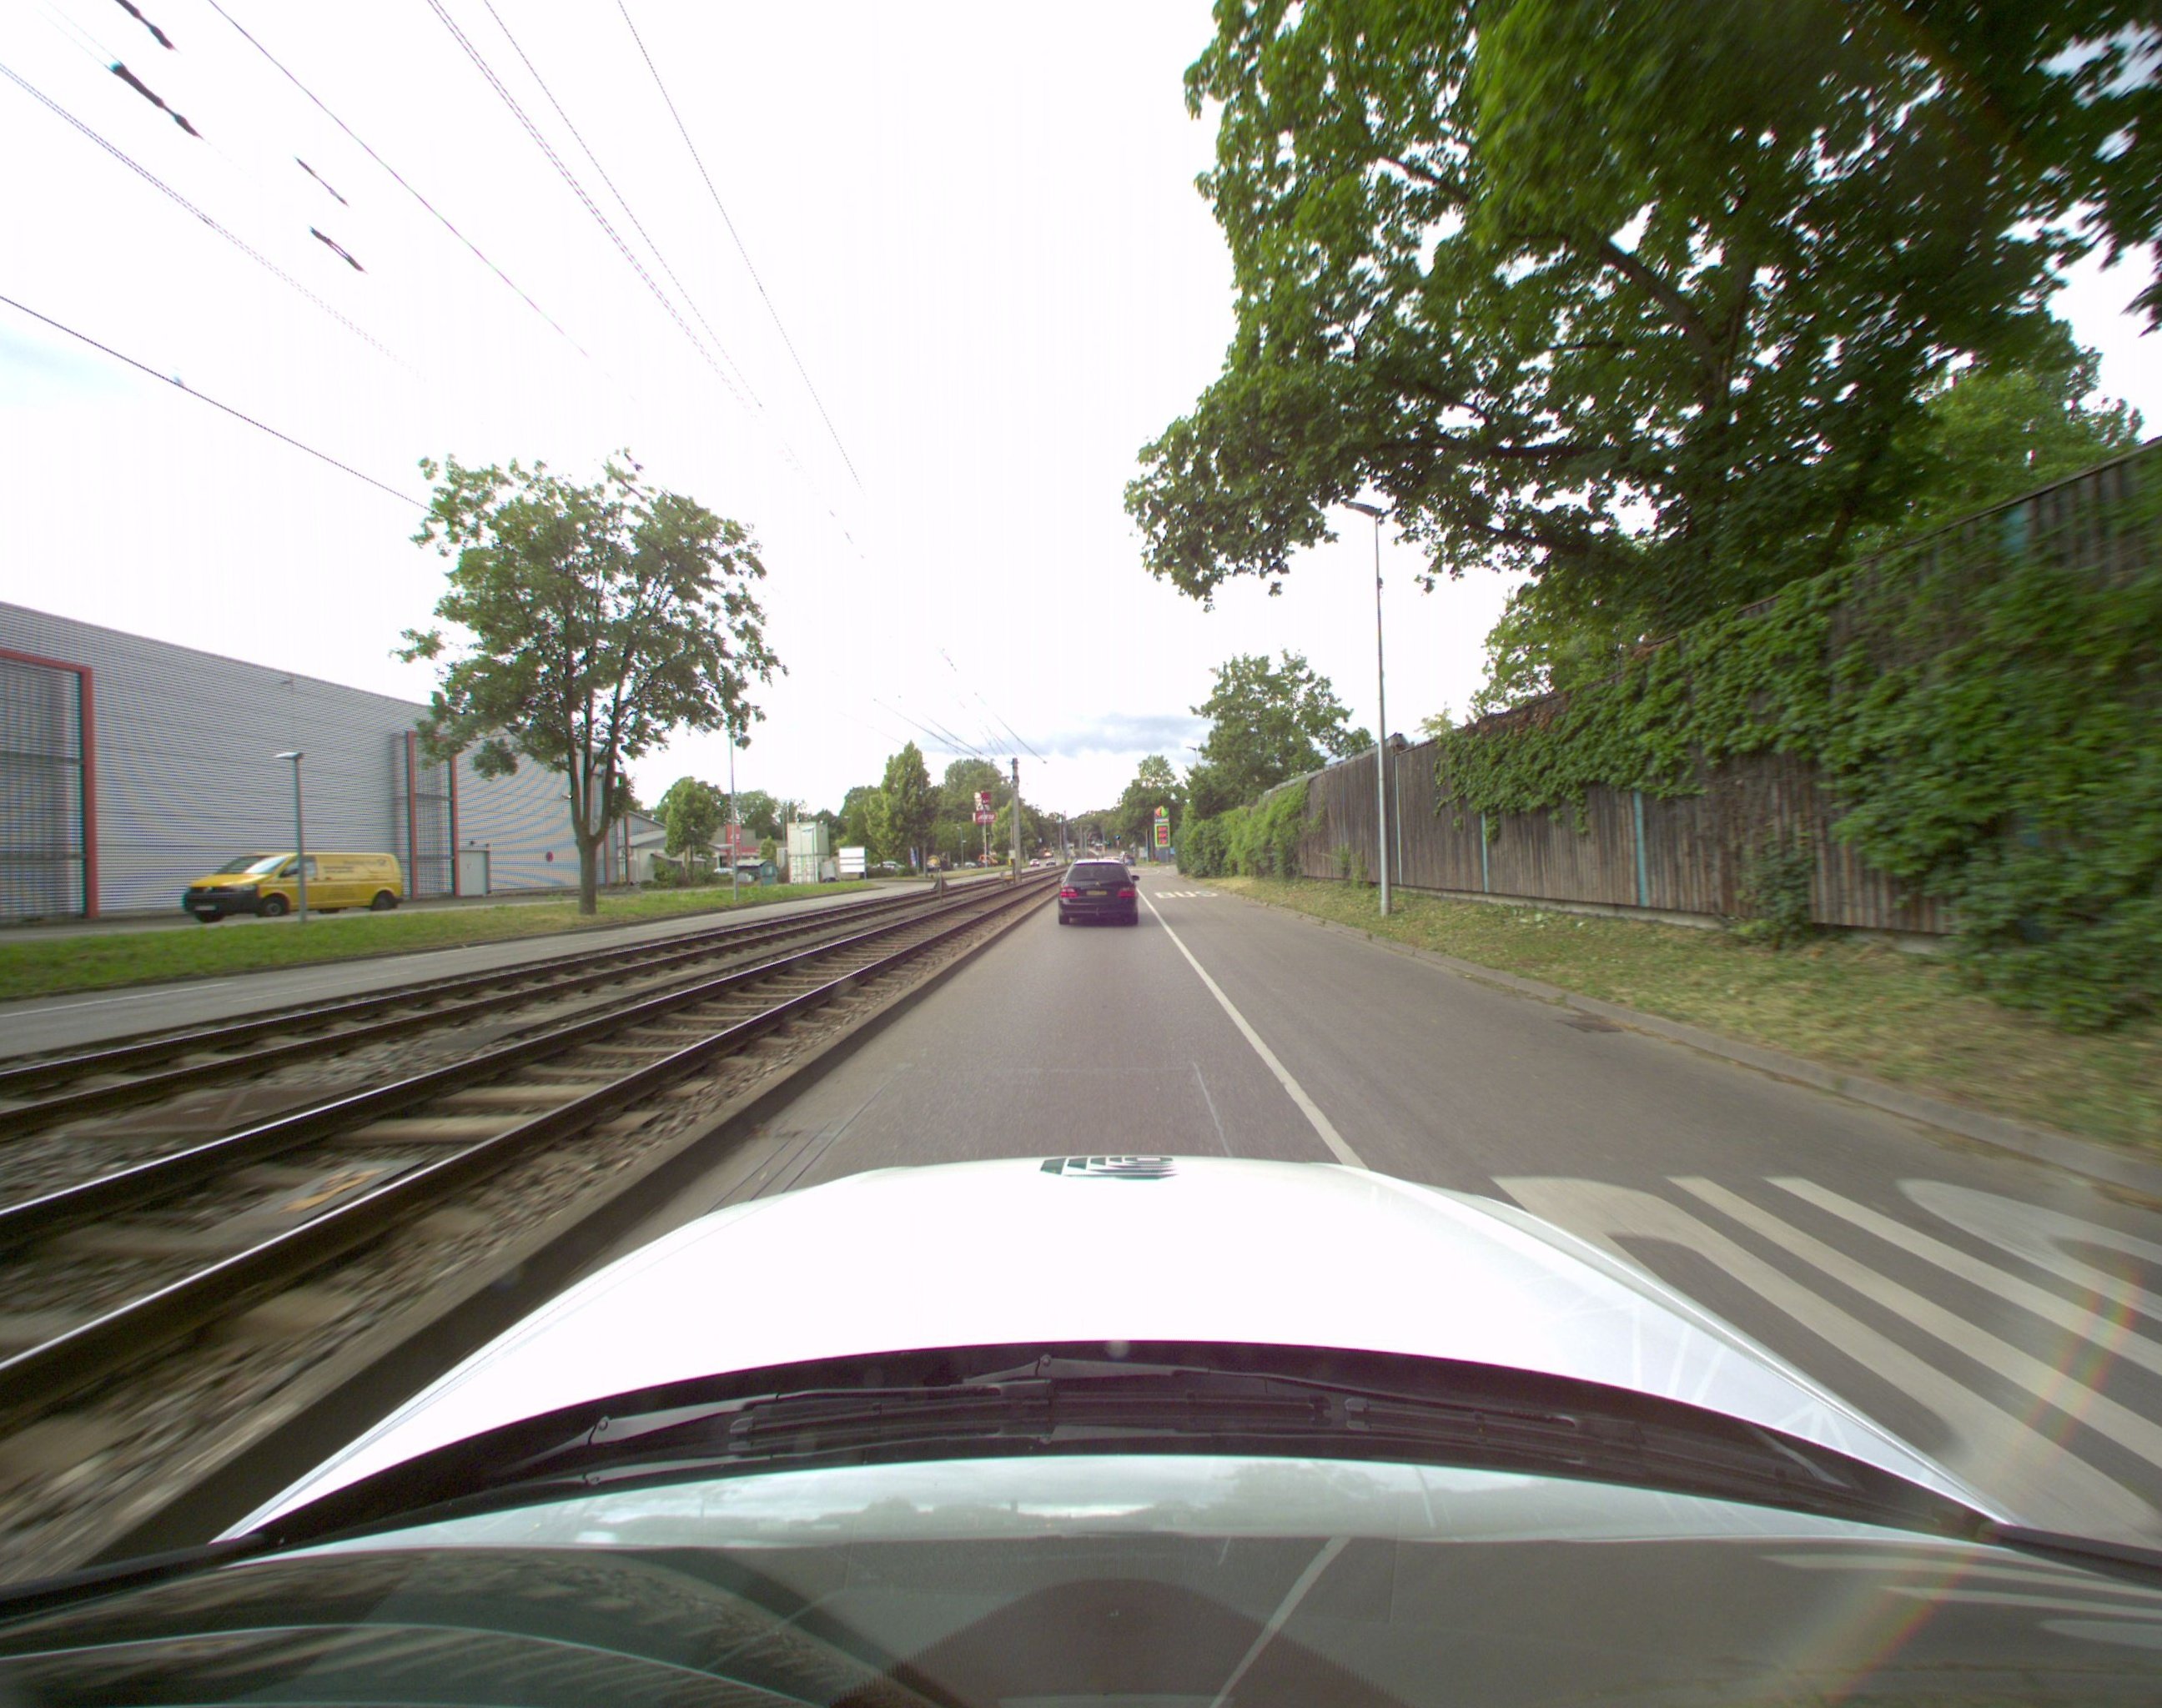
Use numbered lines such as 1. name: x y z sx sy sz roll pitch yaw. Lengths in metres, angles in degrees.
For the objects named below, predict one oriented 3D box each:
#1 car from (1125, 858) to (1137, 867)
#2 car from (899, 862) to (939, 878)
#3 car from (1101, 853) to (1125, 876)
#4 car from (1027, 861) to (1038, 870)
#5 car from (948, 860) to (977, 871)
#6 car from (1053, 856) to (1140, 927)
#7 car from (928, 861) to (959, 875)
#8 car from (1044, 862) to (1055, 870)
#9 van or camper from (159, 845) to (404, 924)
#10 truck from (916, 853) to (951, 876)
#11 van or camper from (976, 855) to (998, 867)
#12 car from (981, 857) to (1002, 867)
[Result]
1. car: 7.302 1.259 119.204 1.565 1.415 3.355 0 -1 2
2. car: -19.341 1.860 97.372 4.207 1.727 1.995 -3 -1 0
3. car: 2.433 0.823 62.405 1.773 1.750 3.719 0 -1 2
4. car: -9.389 2.203 157.951 1.786 1.772 4.000 -2 -1 0
5. car: -18.862 1.817 129.648 4.293 1.472 1.680 -2 0 -1
6. car: 0.404 0.803 19.079 1.801 1.474 3.882 -1 0 2
7. car: -19.568 1.959 115.859 3.978 1.797 1.876 -3 -1 -3
8. car: -6.042 2.247 157.123 1.753 1.401 4.444 -5 -1 1
9. van or camper: -23.200 0.827 24.035 2.097 2.014 5.239 -2 0 -1
10. truck: -19.185 1.378 106.177 3.975 2.822 2.375 -3 -1 -1
11. van or camper: -17.985 1.416 155.720 3.978 2.135 1.876 -3 -1 -3
12. car: -17.924 1.669 162.737 3.978 1.797 1.876 -3 -1 -3
